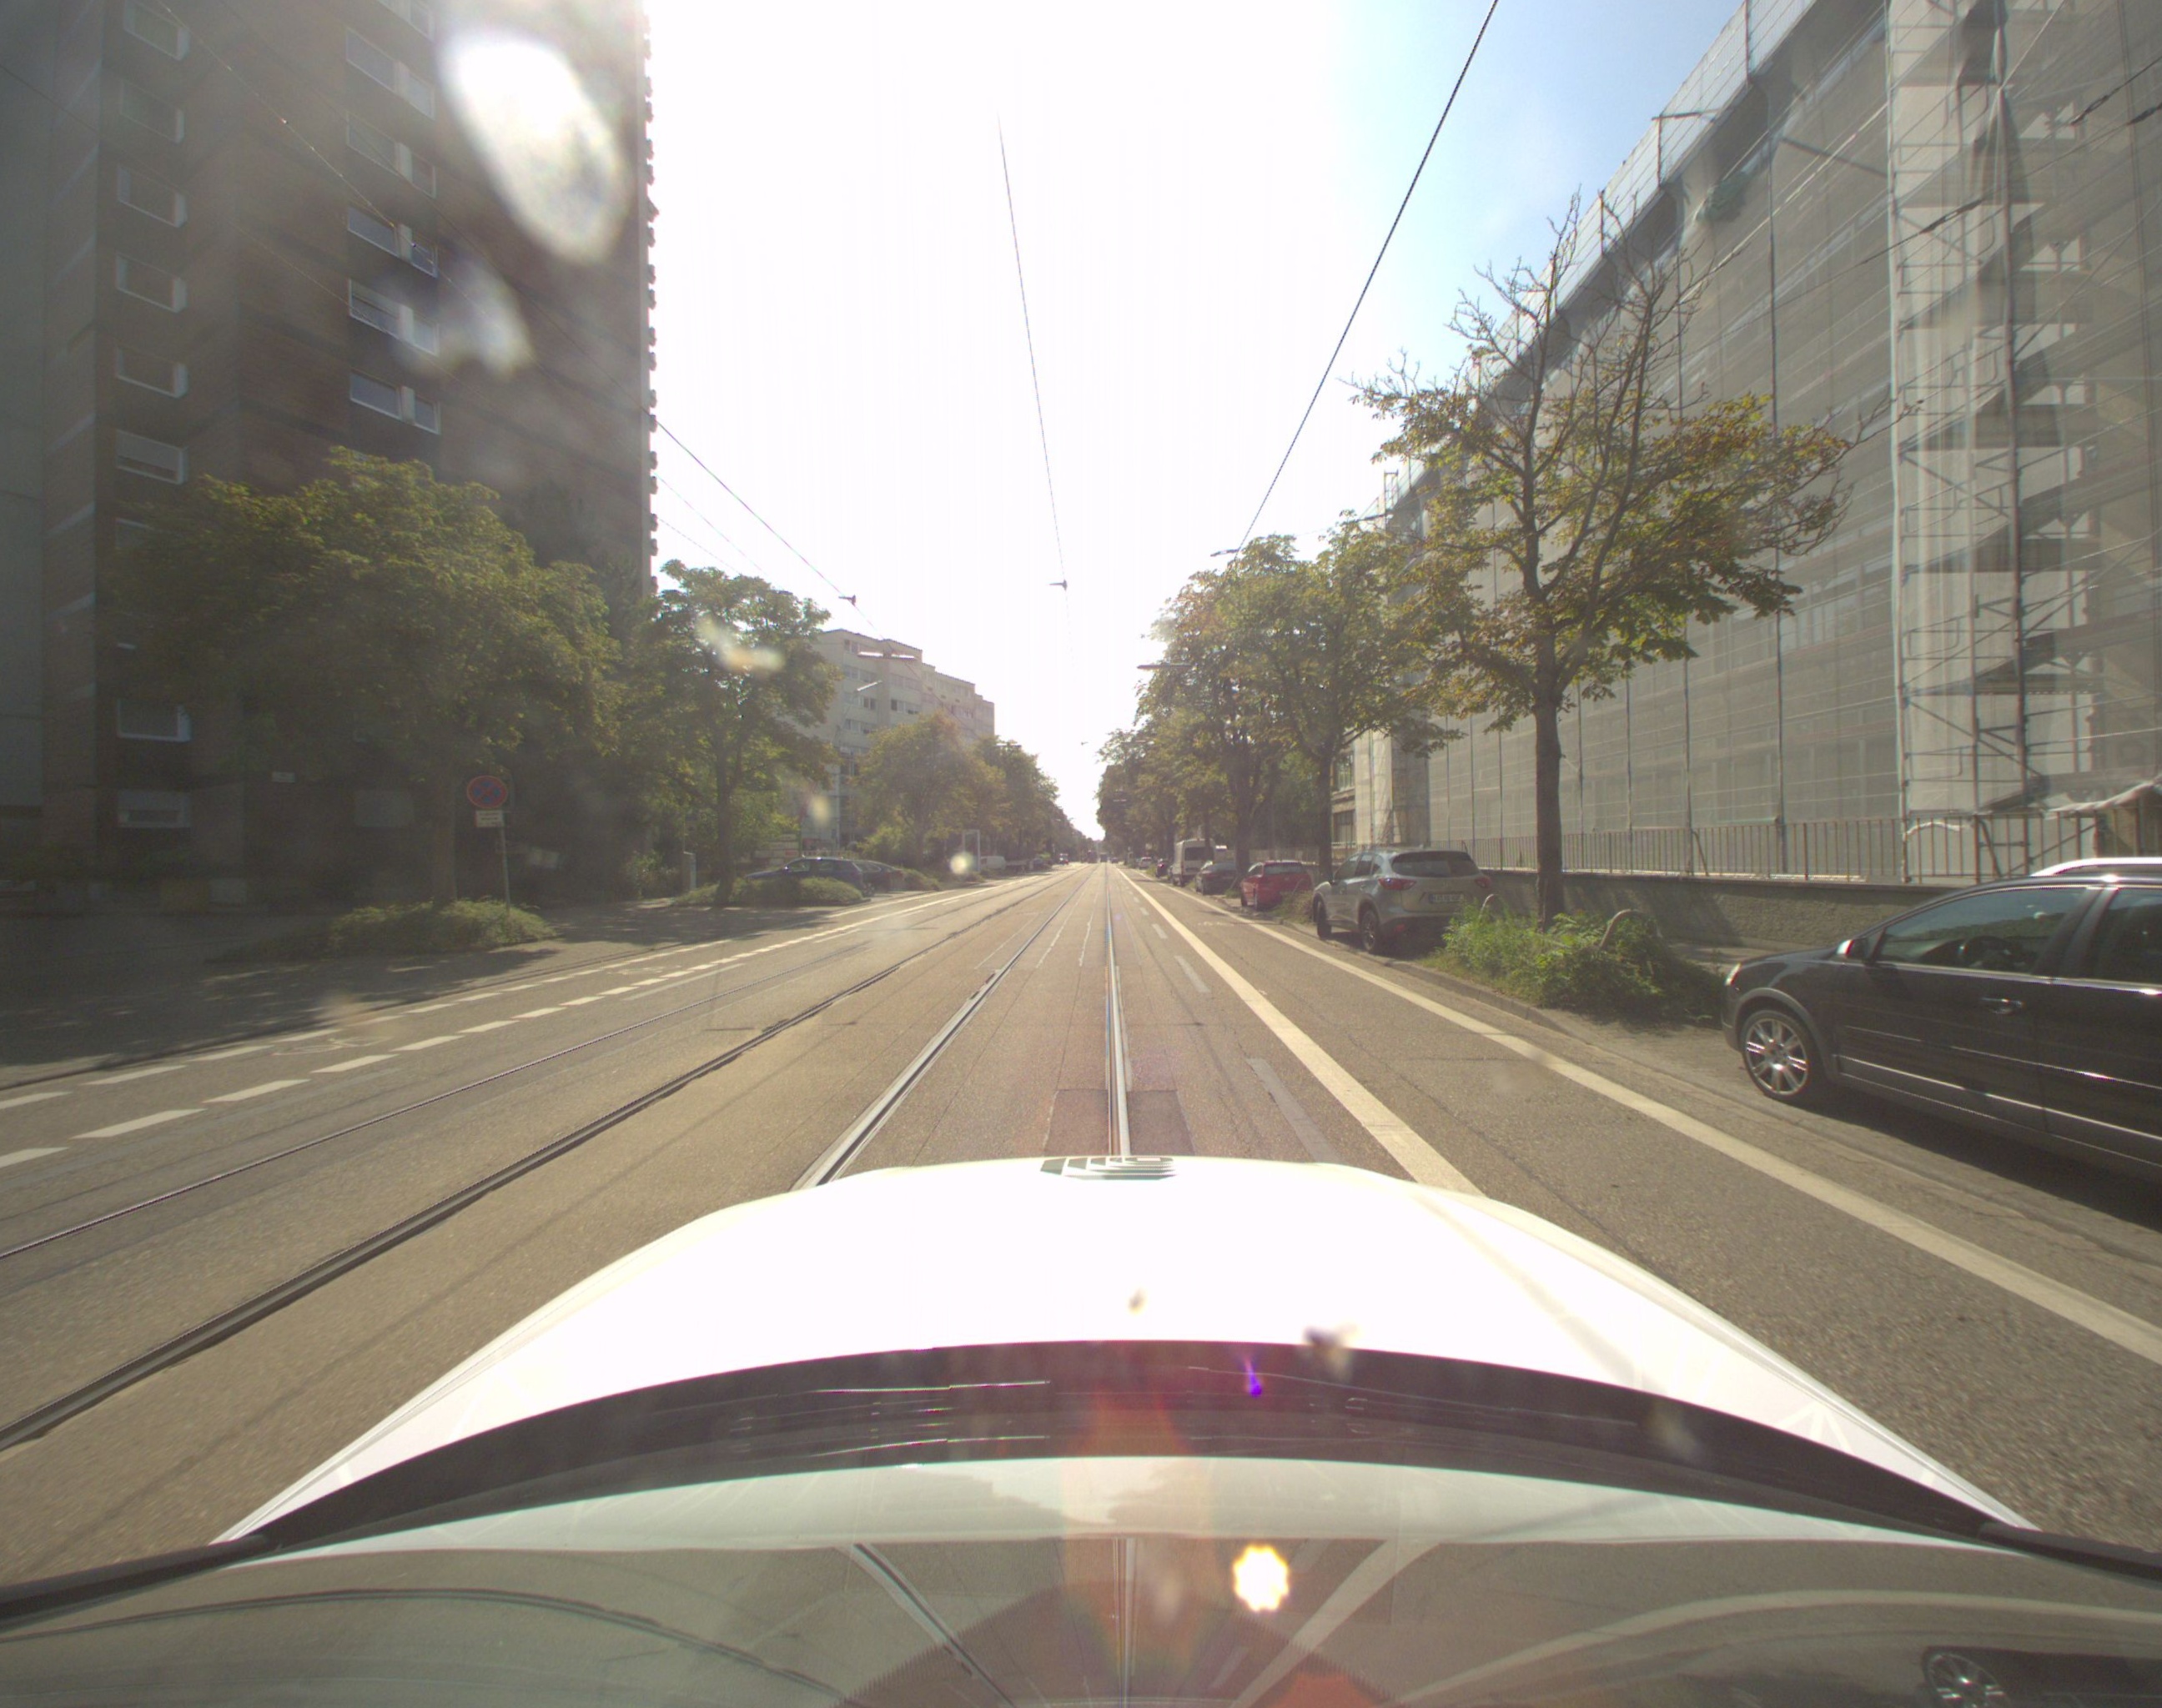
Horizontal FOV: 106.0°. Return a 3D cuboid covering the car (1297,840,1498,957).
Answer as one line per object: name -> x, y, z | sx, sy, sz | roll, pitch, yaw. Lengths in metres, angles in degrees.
car -> 5.245, 0.663, 14.228 | 1.756, 1.688, 4.649 | -1, 0, 1

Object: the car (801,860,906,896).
car -> -10.221, 1.031, 36.616 | 4.302, 1.497, 1.766 | 0, 0, -25

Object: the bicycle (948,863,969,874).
bicycle -> -13.622, 1.646, 90.348 | 2.320, 1.169, 0.565 | 1, -1, 18

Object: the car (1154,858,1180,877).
car -> 6.777, 1.037, 64.414 | 1.668, 1.458, 4.665 | -2, 0, 2

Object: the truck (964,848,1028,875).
truck -> -8.197, 0.733, 79.033 | 5.997, 2.434, 2.126 | -1, -1, -38

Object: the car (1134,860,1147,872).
car -> 8.162, 1.629, 111.450 | 1.634, 1.512, 3.642 | -1, -1, 2

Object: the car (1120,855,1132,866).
car -> 9.186, 1.392, 166.226 | 1.989, 2.233, 3.995 | -1, -1, -3

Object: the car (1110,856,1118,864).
car -> 8.452, 1.551, 206.167 | 1.986, 1.801, 4.002 | 0, -1, 2

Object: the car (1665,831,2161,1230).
car -> 5.121, 0.690, 4.059 | 1.678, 1.570, 4.002 | -1, 0, 2

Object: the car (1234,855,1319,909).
car -> 5.827, 0.814, 24.777 | 1.679, 1.500, 4.133 | -1, -1, 1

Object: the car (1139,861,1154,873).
car -> 7.866, 1.555, 97.864 | 1.783, 1.446, 3.737 | -2, -1, 4

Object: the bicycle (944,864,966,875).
bicycle -> -13.830, 1.656, 89.645 | 2.319, 1.169, 0.625 | 1, -1, 18

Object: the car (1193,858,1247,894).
car -> 5.860, 0.912, 34.881 | 1.678, 1.440, 4.805 | -1, -1, 2

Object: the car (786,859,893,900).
car -> -9.906, 1.005, 33.414 | 4.007, 1.570, 1.766 | 0, 0, -26

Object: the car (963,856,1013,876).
car -> -8.534, 1.072, 75.260 | 4.309, 1.772, 1.803 | -1, -1, -42

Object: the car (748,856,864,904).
car -> -10.240, 0.925, 30.357 | 4.002, 1.648, 1.828 | 0, 0, -22

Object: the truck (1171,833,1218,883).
truck -> 6.207, 0.233, 45.112 | 1.910, 2.599, 5.592 | -1, -1, 1

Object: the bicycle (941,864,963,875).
bicycle -> -14.089, 1.645, 88.837 | 2.319, 1.169, 0.625 | 1, -1, 19

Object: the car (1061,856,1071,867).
car -> -3.479, 1.698, 189.342 | 2.236, 2.441, 3.997 | 0, -1, -2

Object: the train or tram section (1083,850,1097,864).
train or tram section -> 2.483, 0.768, 228.470 | 3.483, 3.704, 12.420 | 0, 0, 3

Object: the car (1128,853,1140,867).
car -> 9.019, 1.057, 139.363 | 1.986, 2.365, 4.002 | 0, -1, 2
